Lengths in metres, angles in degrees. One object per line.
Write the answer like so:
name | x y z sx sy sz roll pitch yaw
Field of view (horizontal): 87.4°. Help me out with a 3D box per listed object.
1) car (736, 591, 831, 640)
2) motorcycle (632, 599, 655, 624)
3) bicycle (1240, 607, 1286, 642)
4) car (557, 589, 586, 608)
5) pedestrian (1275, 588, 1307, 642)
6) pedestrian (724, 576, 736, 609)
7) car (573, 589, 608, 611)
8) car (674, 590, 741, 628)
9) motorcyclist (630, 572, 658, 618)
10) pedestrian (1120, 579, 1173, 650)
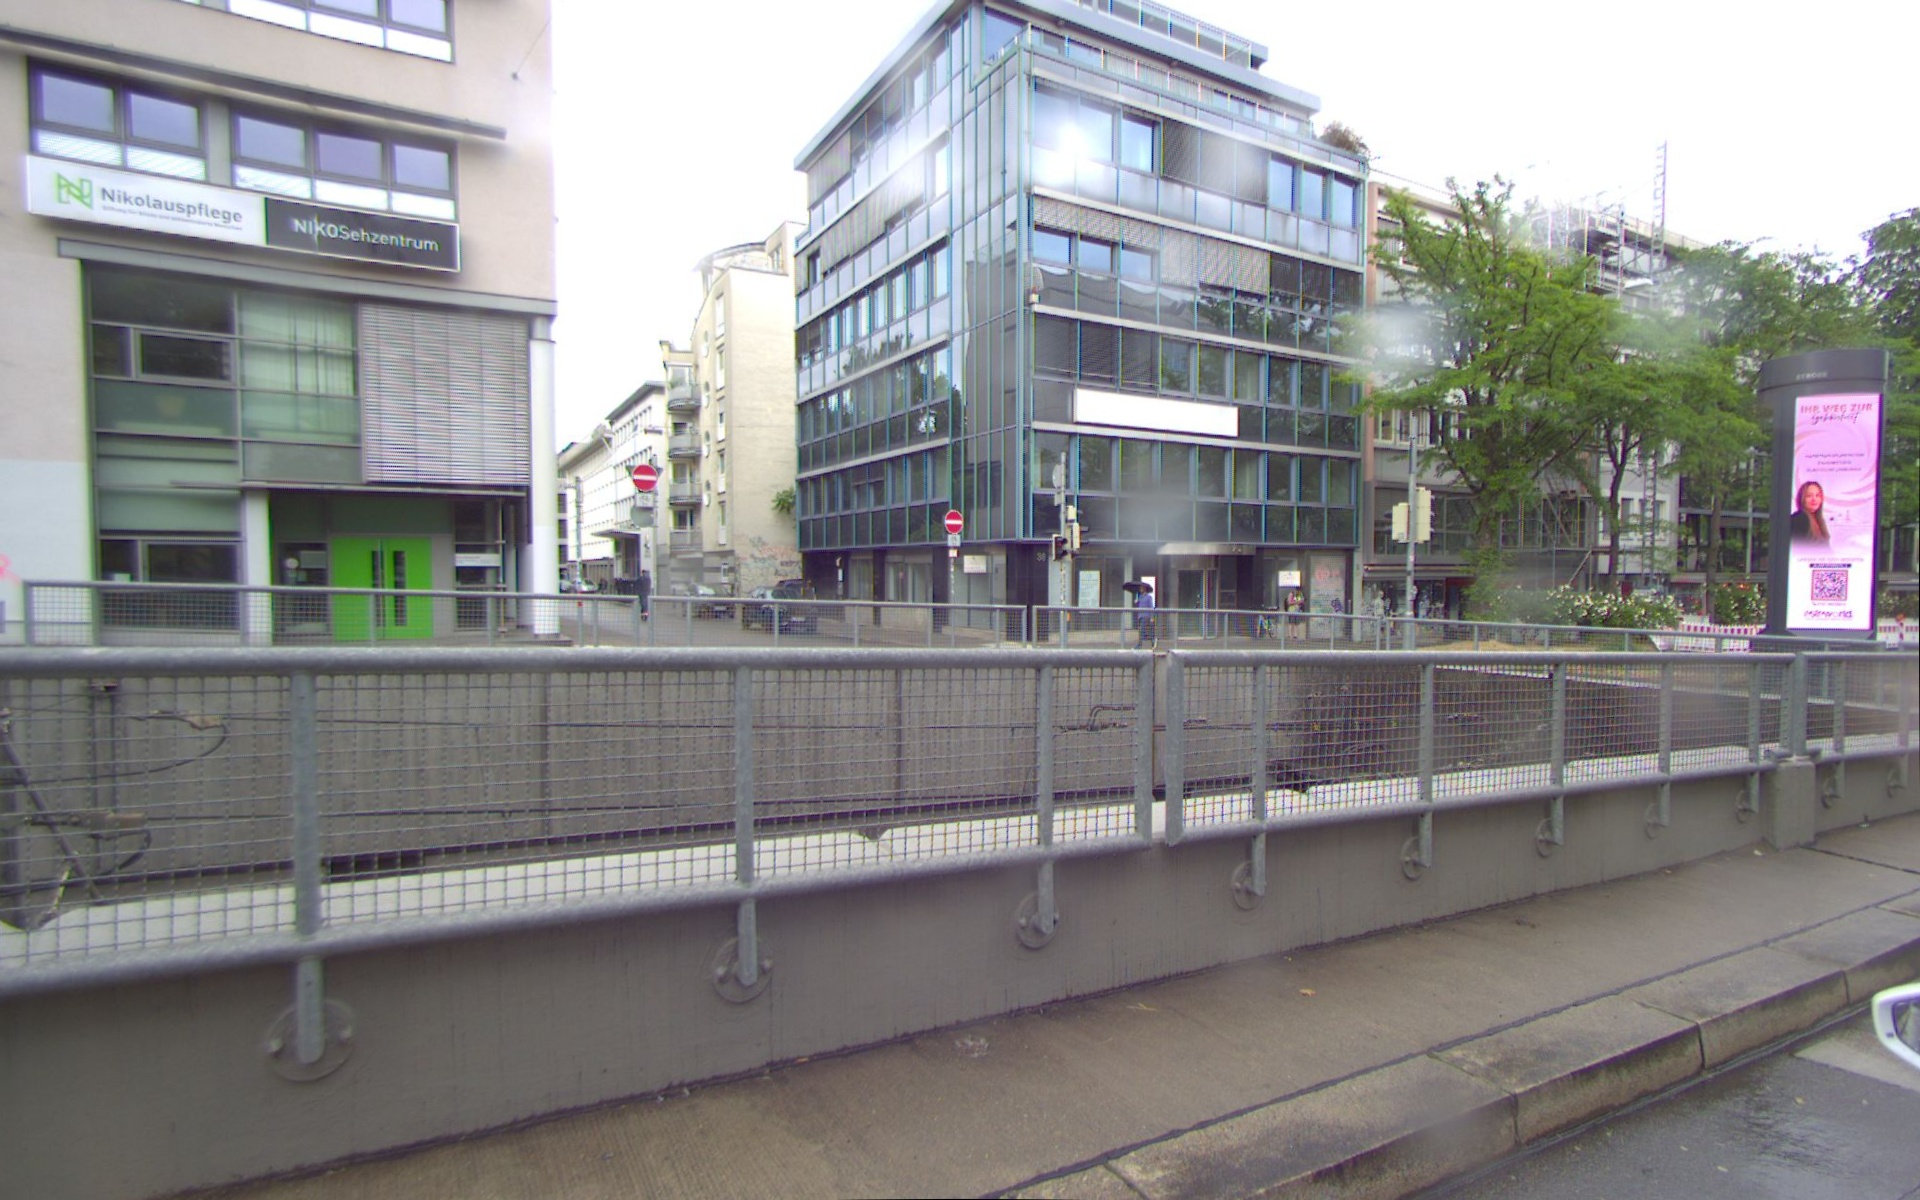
car | -6.247 0.503 35.171 1.977 1.578 3.966 1 0 -31
motorcycle | -12.771 0.459 40.553 0.696 0.984 0.977 1 2 -29
bicycle | 9.862 0.789 32.723 1.544 1.100 0.444 1 1 -27
car | -34.000 -0.127 87.877 1.777 1.578 3.967 1 0 -30
pedestrian | 10.944 0.491 33.229 0.688 1.765 0.691 1 2 -35
pedestrian | -12.016 -0.394 52.461 0.443 1.664 0.326 1 2 -35
car | -27.964 0.000 75.953 1.777 1.578 3.967 1 0 -30
car | -11.113 0.363 44.109 1.777 1.578 3.966 1 0 -31
motorcyclist | -12.761 -0.206 40.561 0.850 1.832 1.007 1 2 -29
pedestrian | 5.015 0.391 27.060 1.047 1.863 0.853 1 2 -30
